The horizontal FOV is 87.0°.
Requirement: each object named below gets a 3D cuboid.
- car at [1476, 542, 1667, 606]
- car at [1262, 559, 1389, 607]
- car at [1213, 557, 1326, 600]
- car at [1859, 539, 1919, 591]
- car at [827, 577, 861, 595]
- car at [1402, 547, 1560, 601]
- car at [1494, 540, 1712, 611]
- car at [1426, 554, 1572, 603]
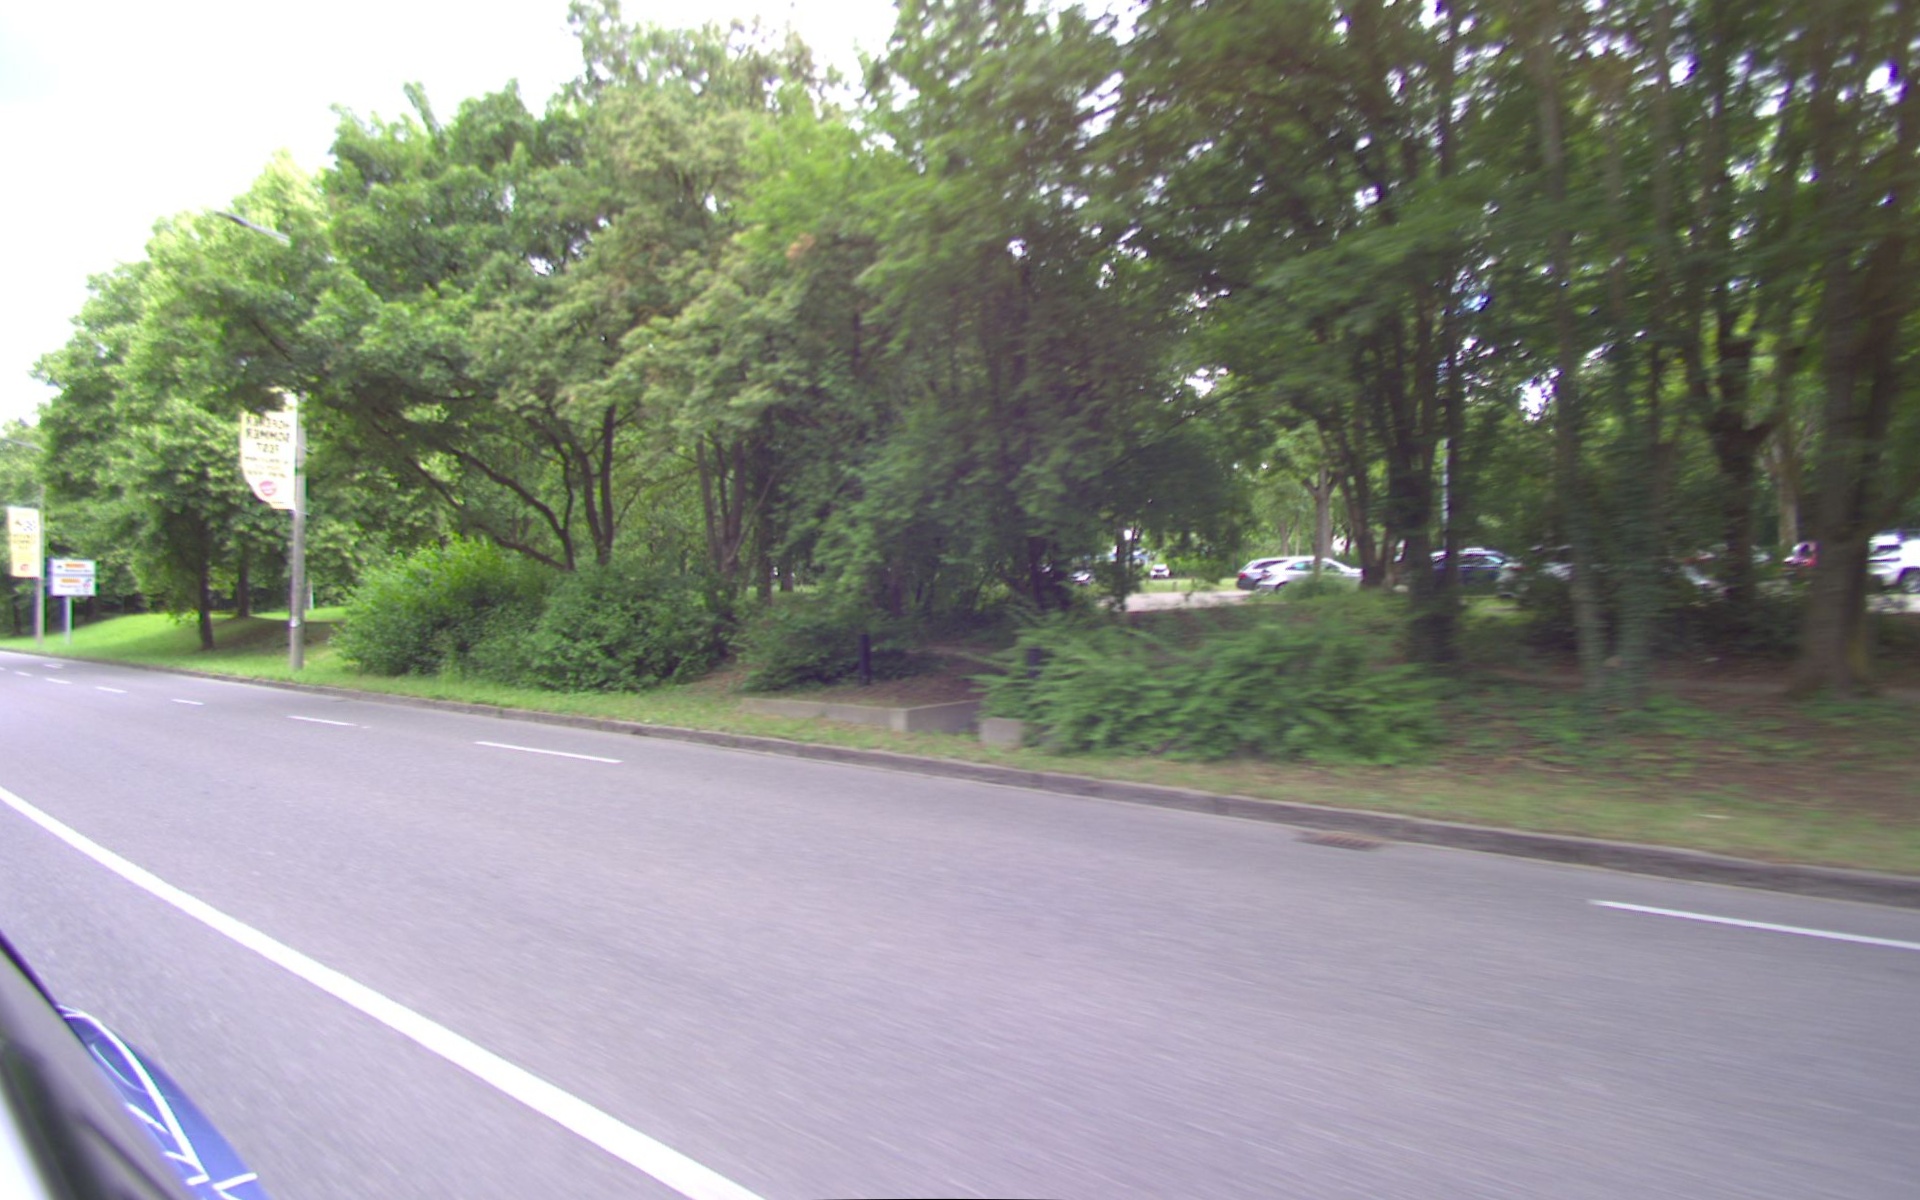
[{"bbox_3d":[15.926,-0.650,26.587,3.966,1.497,1.642,-1,0,17],"label":"car"},{"bbox_3d":[12.497,-0.560,34.845,3.966,1.497,1.642,-1,0,17],"label":"car"},{"bbox_3d":[11.639,-0.792,38.244,3.966,1.497,1.642,-1,0,17],"label":"car"},{"bbox_3d":[27.021,-0.998,27.451,3.553,1.363,1.641,-1,1,14],"label":"car"},{"bbox_3d":[-8.373,-0.984,73.338,1.386,1.243,3.495,-1,0,13],"label":"car"},{"bbox_3d":[15.696,-0.757,30.683,3.966,1.497,1.642,-1,0,17],"label":"car"},{"bbox_3d":[14.972,-0.540,23.792,3.966,1.497,1.642,-1,0,17],"label":"car"},{"bbox_3d":[17.716,-0.684,33.430,3.966,1.497,1.642,-1,0,17],"label":"car"}]
